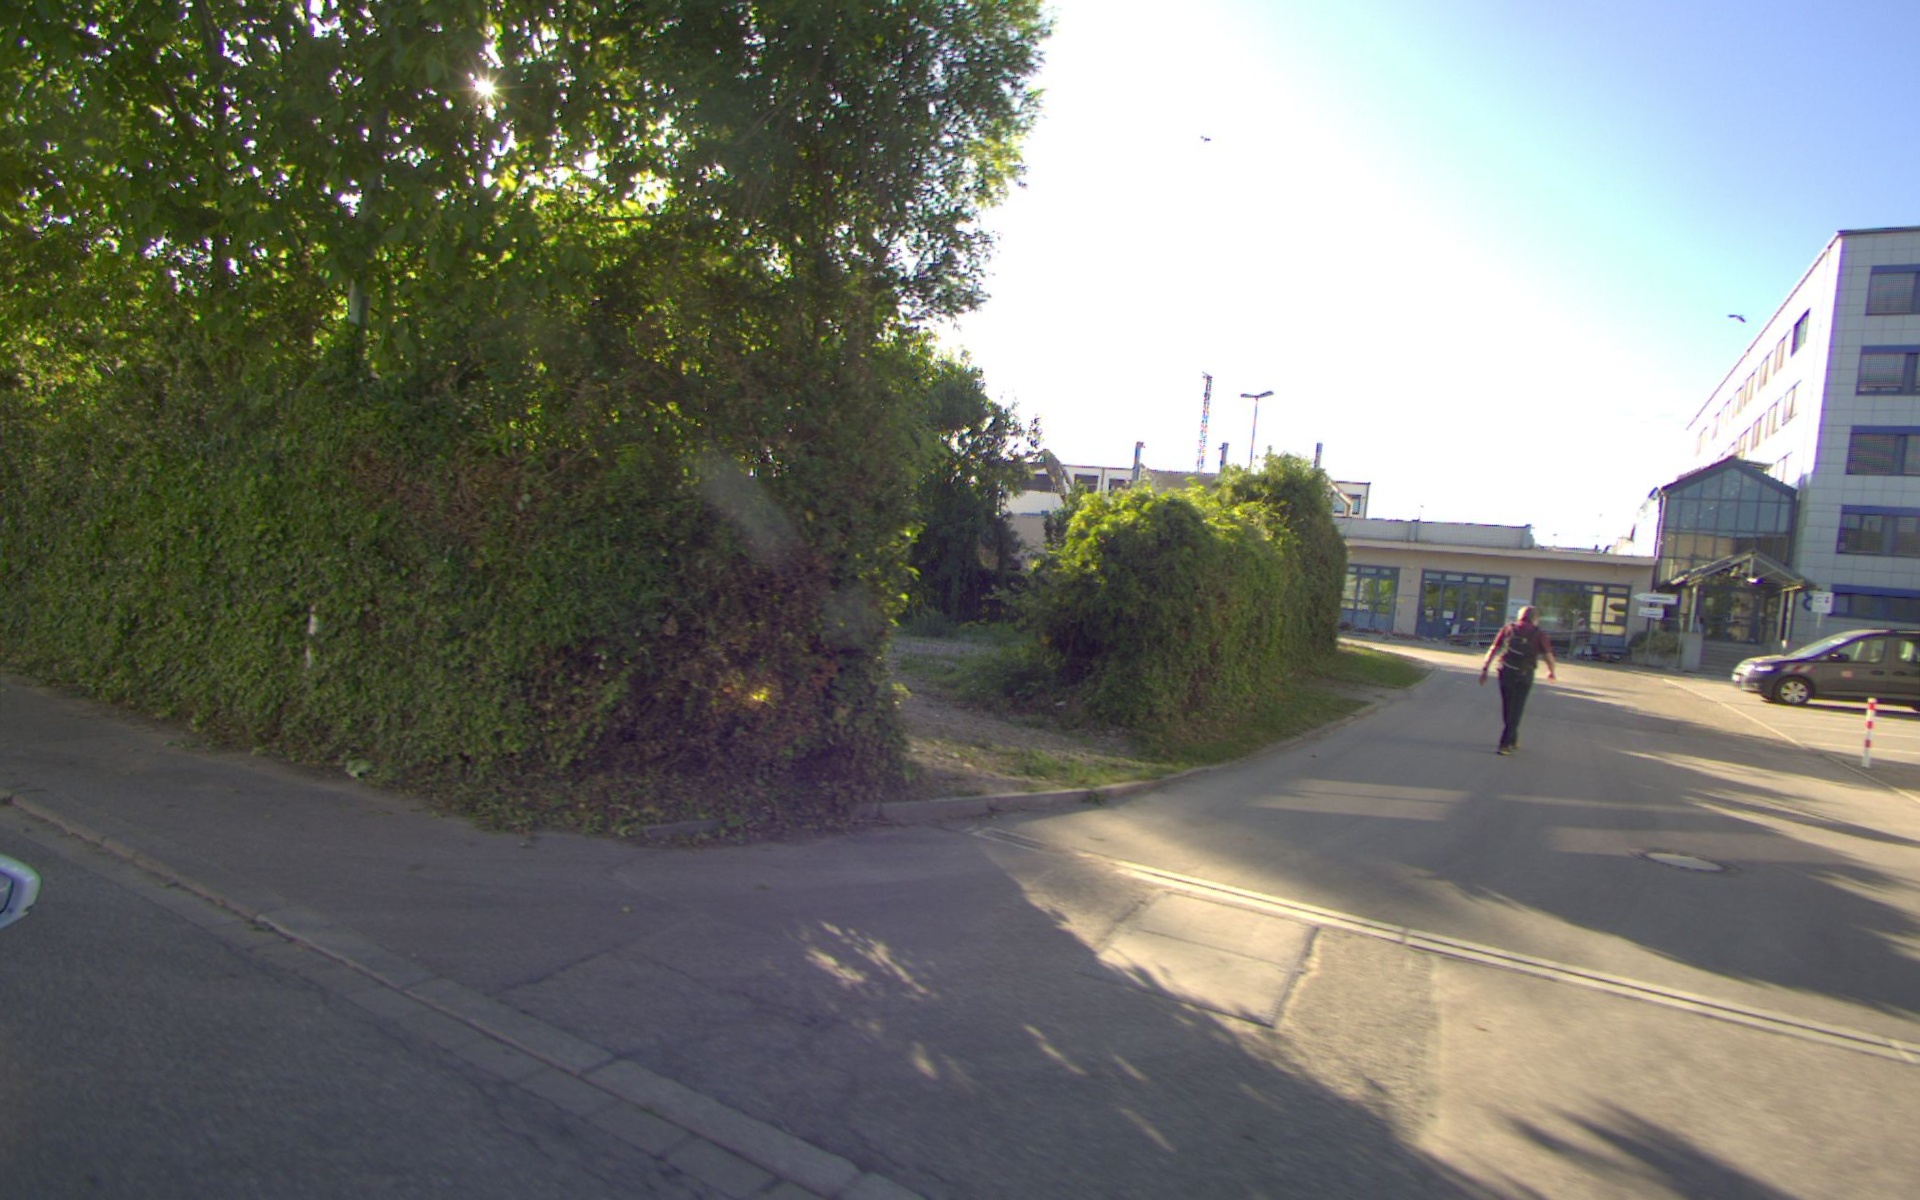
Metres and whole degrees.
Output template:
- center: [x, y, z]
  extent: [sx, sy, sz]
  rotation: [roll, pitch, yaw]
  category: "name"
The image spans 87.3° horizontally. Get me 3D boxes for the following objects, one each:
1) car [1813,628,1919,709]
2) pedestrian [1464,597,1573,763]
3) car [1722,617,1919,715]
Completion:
- center: [23.966, 1.779, 24.642]
  extent: [4.240, 1.804, 1.809]
  rotation: [5, 2, 27]
  category: "car"
- center: [6.705, 0.914, 12.146]
  extent: [0.880, 1.818, 1.153]
  rotation: [6, 4, 25]
  category: "pedestrian"
- center: [19.884, 1.476, 22.386]
  extent: [4.240, 1.804, 1.871]
  rotation: [5, 2, 27]
  category: "car"
